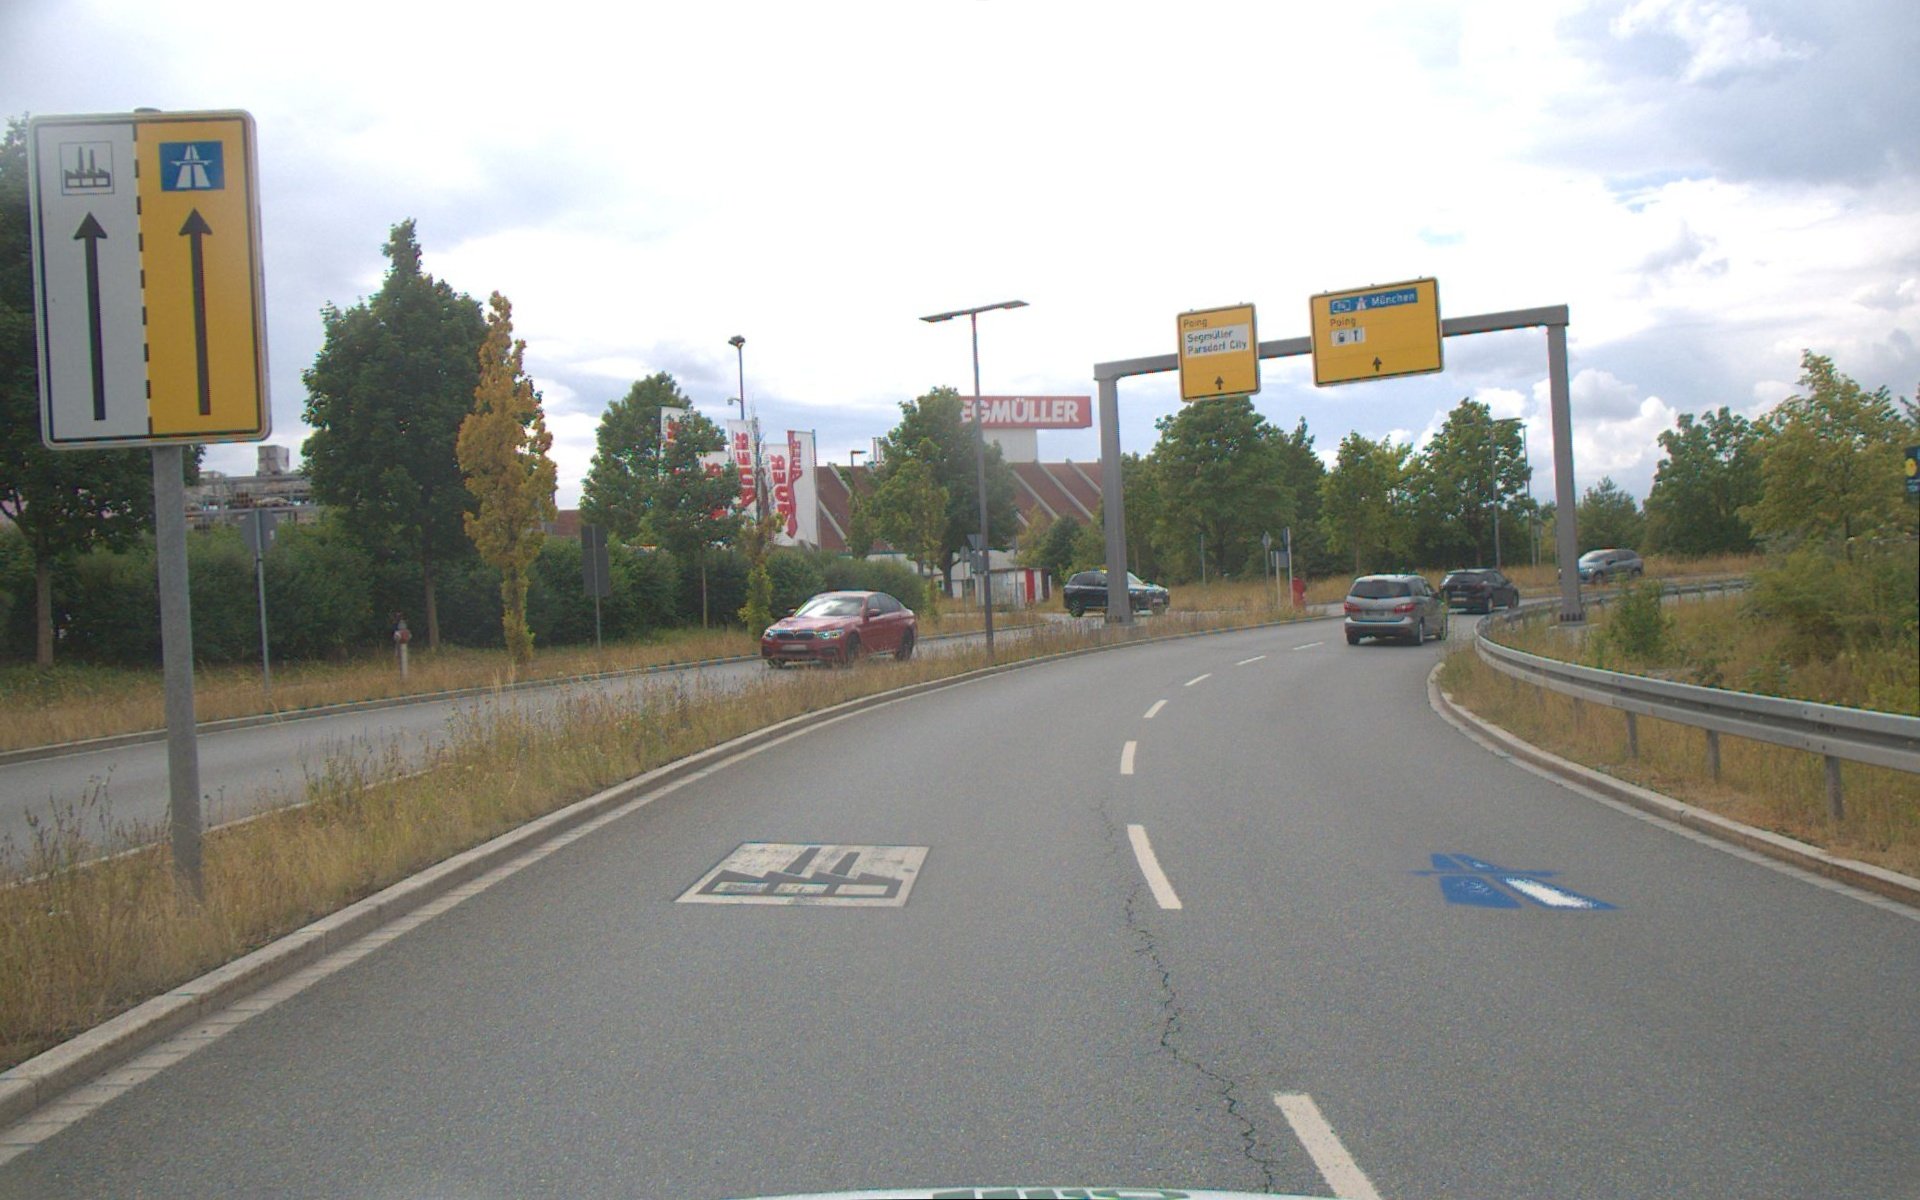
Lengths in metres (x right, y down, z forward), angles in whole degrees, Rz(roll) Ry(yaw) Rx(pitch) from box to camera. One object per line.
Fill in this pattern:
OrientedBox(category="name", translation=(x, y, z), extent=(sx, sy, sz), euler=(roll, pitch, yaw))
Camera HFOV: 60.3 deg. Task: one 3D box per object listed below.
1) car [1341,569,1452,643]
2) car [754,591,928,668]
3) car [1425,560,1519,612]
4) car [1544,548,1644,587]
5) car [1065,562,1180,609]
OrientedBox(category="car", translation=(10.445, 0.116, 39.419), extent=(1.733, 1.645, 3.917), euler=(-2, 0, 27))
OrientedBox(category="car", translation=(-2.375, 0.551, 34.461), extent=(1.754, 1.472, 4.973), euler=(0, 0, 20))
OrientedBox(category="car", translation=(17.073, -0.481, 55.030), extent=(1.838, 1.633, 3.720), euler=(-2, 0, 37))
OrientedBox(category="car", translation=(28.995, -1.480, 75.591), extent=(4.625, 1.658, 1.796), euler=(-2, 0, -31))
OrientedBox(category="car", translation=(5.963, -0.523, 61.080), extent=(1.854, 1.576, 4.200), euler=(-2, 1, -36))
